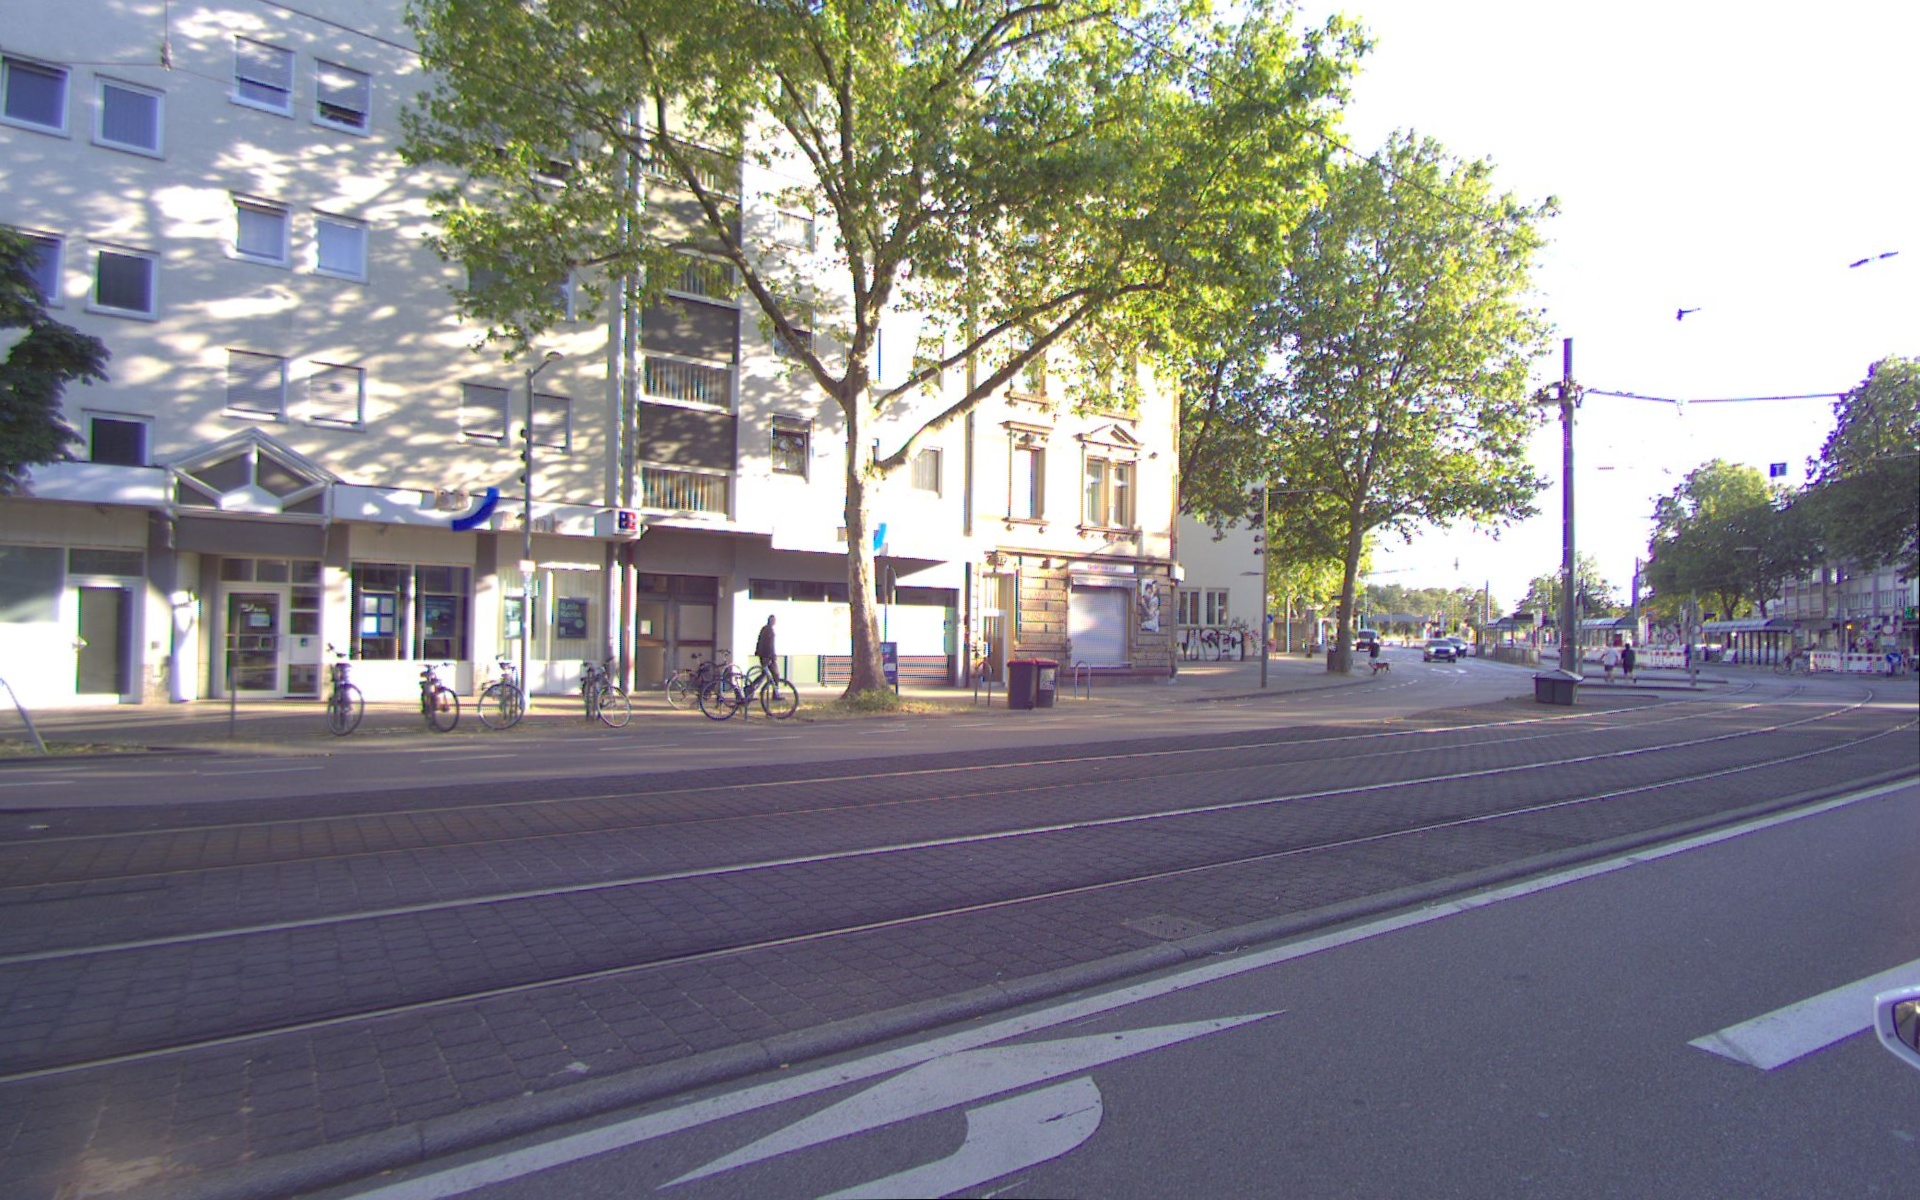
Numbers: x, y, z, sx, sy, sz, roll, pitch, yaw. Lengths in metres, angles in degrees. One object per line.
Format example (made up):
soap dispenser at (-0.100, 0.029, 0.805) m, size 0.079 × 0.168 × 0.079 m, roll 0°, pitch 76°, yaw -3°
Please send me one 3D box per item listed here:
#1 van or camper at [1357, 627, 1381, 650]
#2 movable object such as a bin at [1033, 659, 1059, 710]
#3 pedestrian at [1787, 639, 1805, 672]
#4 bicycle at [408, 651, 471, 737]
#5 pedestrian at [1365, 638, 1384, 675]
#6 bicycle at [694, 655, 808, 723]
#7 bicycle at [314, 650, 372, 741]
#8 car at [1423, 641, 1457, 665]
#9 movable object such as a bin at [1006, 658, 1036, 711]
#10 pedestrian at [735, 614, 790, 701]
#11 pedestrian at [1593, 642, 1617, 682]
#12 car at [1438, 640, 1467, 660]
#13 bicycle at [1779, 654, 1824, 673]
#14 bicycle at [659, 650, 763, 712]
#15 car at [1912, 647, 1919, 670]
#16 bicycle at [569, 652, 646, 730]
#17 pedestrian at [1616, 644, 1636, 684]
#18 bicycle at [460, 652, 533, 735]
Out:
van or camper at (43.530, 4.148, 106.906) m, size 2.133 × 2.349 × 5.102 m, roll -2°, pitch -3°, yaw 23°
movable object such as a bin at (1.918, 1.861, 22.307) m, size 0.562 × 1.108 × 0.477 m, roll 0°, pitch -2°, yaw 5°
pedestrian at (44.440, 2.956, 53.385) m, size 0.711 × 1.748 × 0.397 m, roll -1°, pitch -2°, yaw 40°
bicycle at (-7.843, 1.373, 15.097) m, size 0.529 × 1.139 × 1.880 m, roll 2°, pitch -1°, yaw -36°
pedestrian at (19.661, 2.664, 47.616) m, size 0.663 × 1.733 × 0.431 m, roll 2°, pitch 0°, yaw 2°
bicycle at (-3.671, 1.545, 17.703) m, size 1.891 × 1.139 × 0.505 m, roll 2°, pitch -1°, yaw -34°
bicycle at (-8.837, 1.326, 14.351) m, size 0.529 × 1.139 × 1.880 m, roll 2°, pitch -1°, yaw -36°
car at (31.919, 3.516, 66.900) m, size 1.856 × 1.492 × 4.205 m, roll 0°, pitch -2°, yaw 24°
movable object such as a bin at (1.314, 1.816, 21.693) m, size 0.634 × 1.108 × 0.546 m, roll 0°, pitch -2°, yaw 5°
pedestrian at (-4.245, 1.236, 21.611) m, size 0.959 × 1.811 × 0.615 m, roll 2°, pitch 0°, yaw -30°
pedestrian at (24.632, 2.364, 38.382) m, size 0.583 × 1.524 × 0.520 m, roll 1°, pitch -2°, yaw -13°
car at (41.413, 4.202, 84.521) m, size 1.855 × 1.605 × 4.206 m, roll 0°, pitch -2°, yaw 22°
bicycle at (44.877, 3.394, 53.606) m, size 1.819 × 0.955 × 0.461 m, roll -1°, pitch -2°, yaw 40°
bicycle at (-4.815, 1.551, 19.501) m, size 1.891 × 1.139 × 0.505 m, roll 2°, pitch -1°, yaw -34°
car at (63.744, 3.780, 65.195) m, size 1.635 × 1.488 × 3.412 m, roll -3°, pitch -3°, yaw 22°
bicycle at (-5.844, 1.467, 16.586) m, size 0.646 × 1.139 × 1.880 m, roll 2°, pitch -1°, yaw -36°
pedestrian at (25.399, 2.444, 38.310) m, size 0.508 × 1.524 × 0.408 m, roll 1°, pitch -2°, yaw -14°
bicycle at (-7.204, 1.406, 15.569) m, size 0.646 × 1.139 × 1.880 m, roll 2°, pitch -1°, yaw -36°
